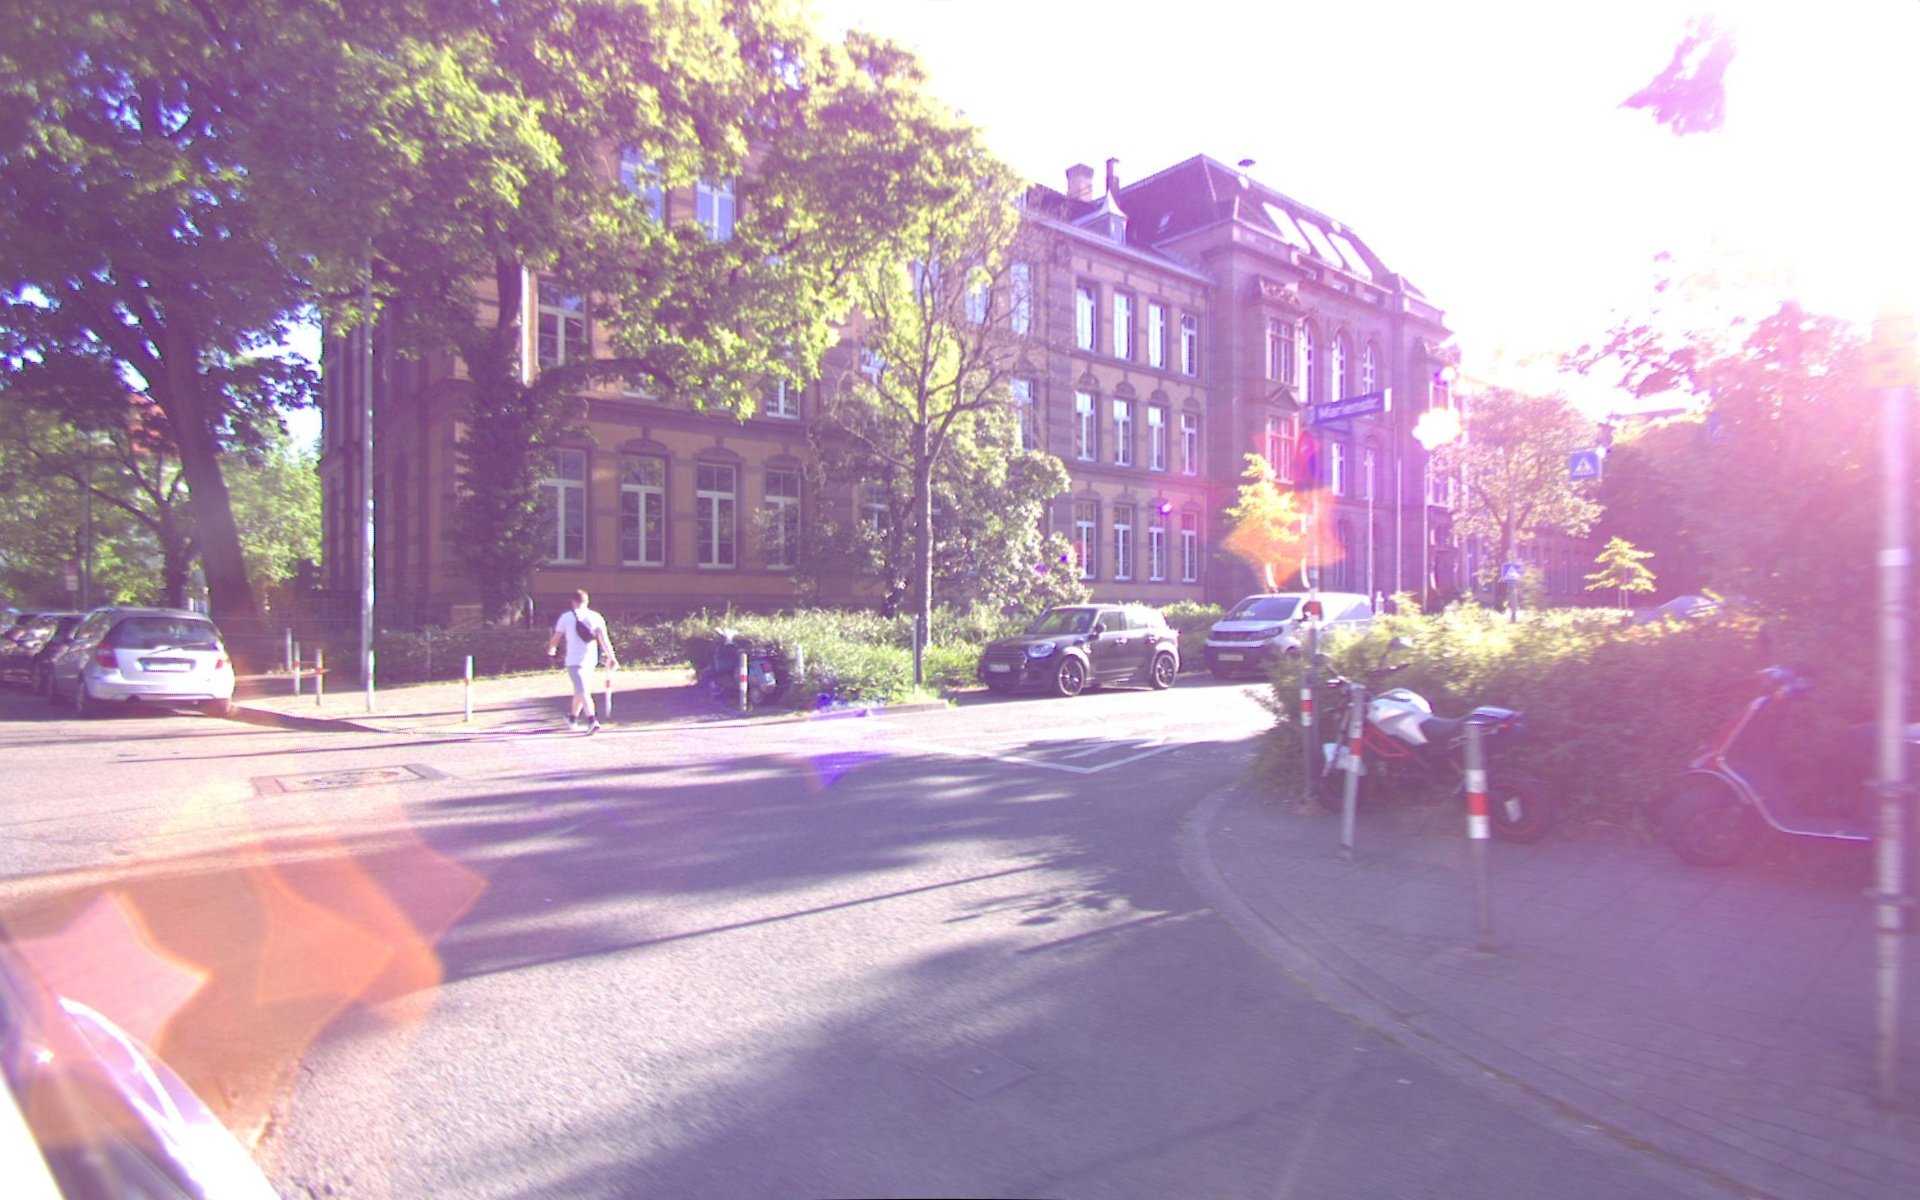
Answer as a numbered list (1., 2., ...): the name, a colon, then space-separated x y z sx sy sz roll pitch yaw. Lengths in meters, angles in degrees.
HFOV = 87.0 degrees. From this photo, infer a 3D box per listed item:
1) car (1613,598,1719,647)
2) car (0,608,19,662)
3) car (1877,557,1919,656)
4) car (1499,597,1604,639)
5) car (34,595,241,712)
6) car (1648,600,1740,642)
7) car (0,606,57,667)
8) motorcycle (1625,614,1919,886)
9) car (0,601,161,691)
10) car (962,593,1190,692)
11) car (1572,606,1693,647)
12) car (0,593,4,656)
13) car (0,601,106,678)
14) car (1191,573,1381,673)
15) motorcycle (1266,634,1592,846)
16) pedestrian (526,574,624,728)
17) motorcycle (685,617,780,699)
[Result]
1. car: 26.236 0.809 37.587 4.366 1.692 2.004 0 -1 -37
2. car: -28.128 0.969 28.683 3.842 1.475 1.709 -1 -2 41
3. car: 28.228 0.181 27.361 2.103 2.726 4.916 1 -1 -42
4. car: 19.417 0.572 33.161 3.936 1.314 1.741 0 -1 -39
5. car: -12.678 0.753 15.522 3.950 1.570 1.688 0 -3 40
6. car: 31.255 0.877 43.077 4.366 1.692 2.004 0 -1 -37
7. car: -24.333 0.892 25.739 3.308 1.475 1.604 -1 -2 41
8. motorcycle: 4.509 0.695 4.945 0.603 1.205 2.050 0 0 -30
9. car: -16.629 0.820 18.829 3.990 1.475 1.568 1 -3 34
10. car: 2.170 0.674 18.227 4.082 1.587 1.887 0 0 -43
11. car: 20.654 0.769 31.067 3.725 1.185 2.004 0 -1 -37
12. car: -32.248 0.743 32.305 5.039 1.973 1.973 -1 -3 41
13. car: -20.325 0.851 22.137 3.996 1.545 1.770 -1 -3 39
14. car: 7.441 0.523 22.885 4.578 2.029 2.002 1 -3 -42
15. motorcycle: 2.963 0.813 6.602 0.630 1.098 1.875 0 0 -34
16. pedestrian: -4.671 0.590 12.265 0.793 1.759 1.007 0 -1 -43
17. motorcycle: -3.353 0.808 14.809 0.536 1.110 1.899 0 -1 -40
